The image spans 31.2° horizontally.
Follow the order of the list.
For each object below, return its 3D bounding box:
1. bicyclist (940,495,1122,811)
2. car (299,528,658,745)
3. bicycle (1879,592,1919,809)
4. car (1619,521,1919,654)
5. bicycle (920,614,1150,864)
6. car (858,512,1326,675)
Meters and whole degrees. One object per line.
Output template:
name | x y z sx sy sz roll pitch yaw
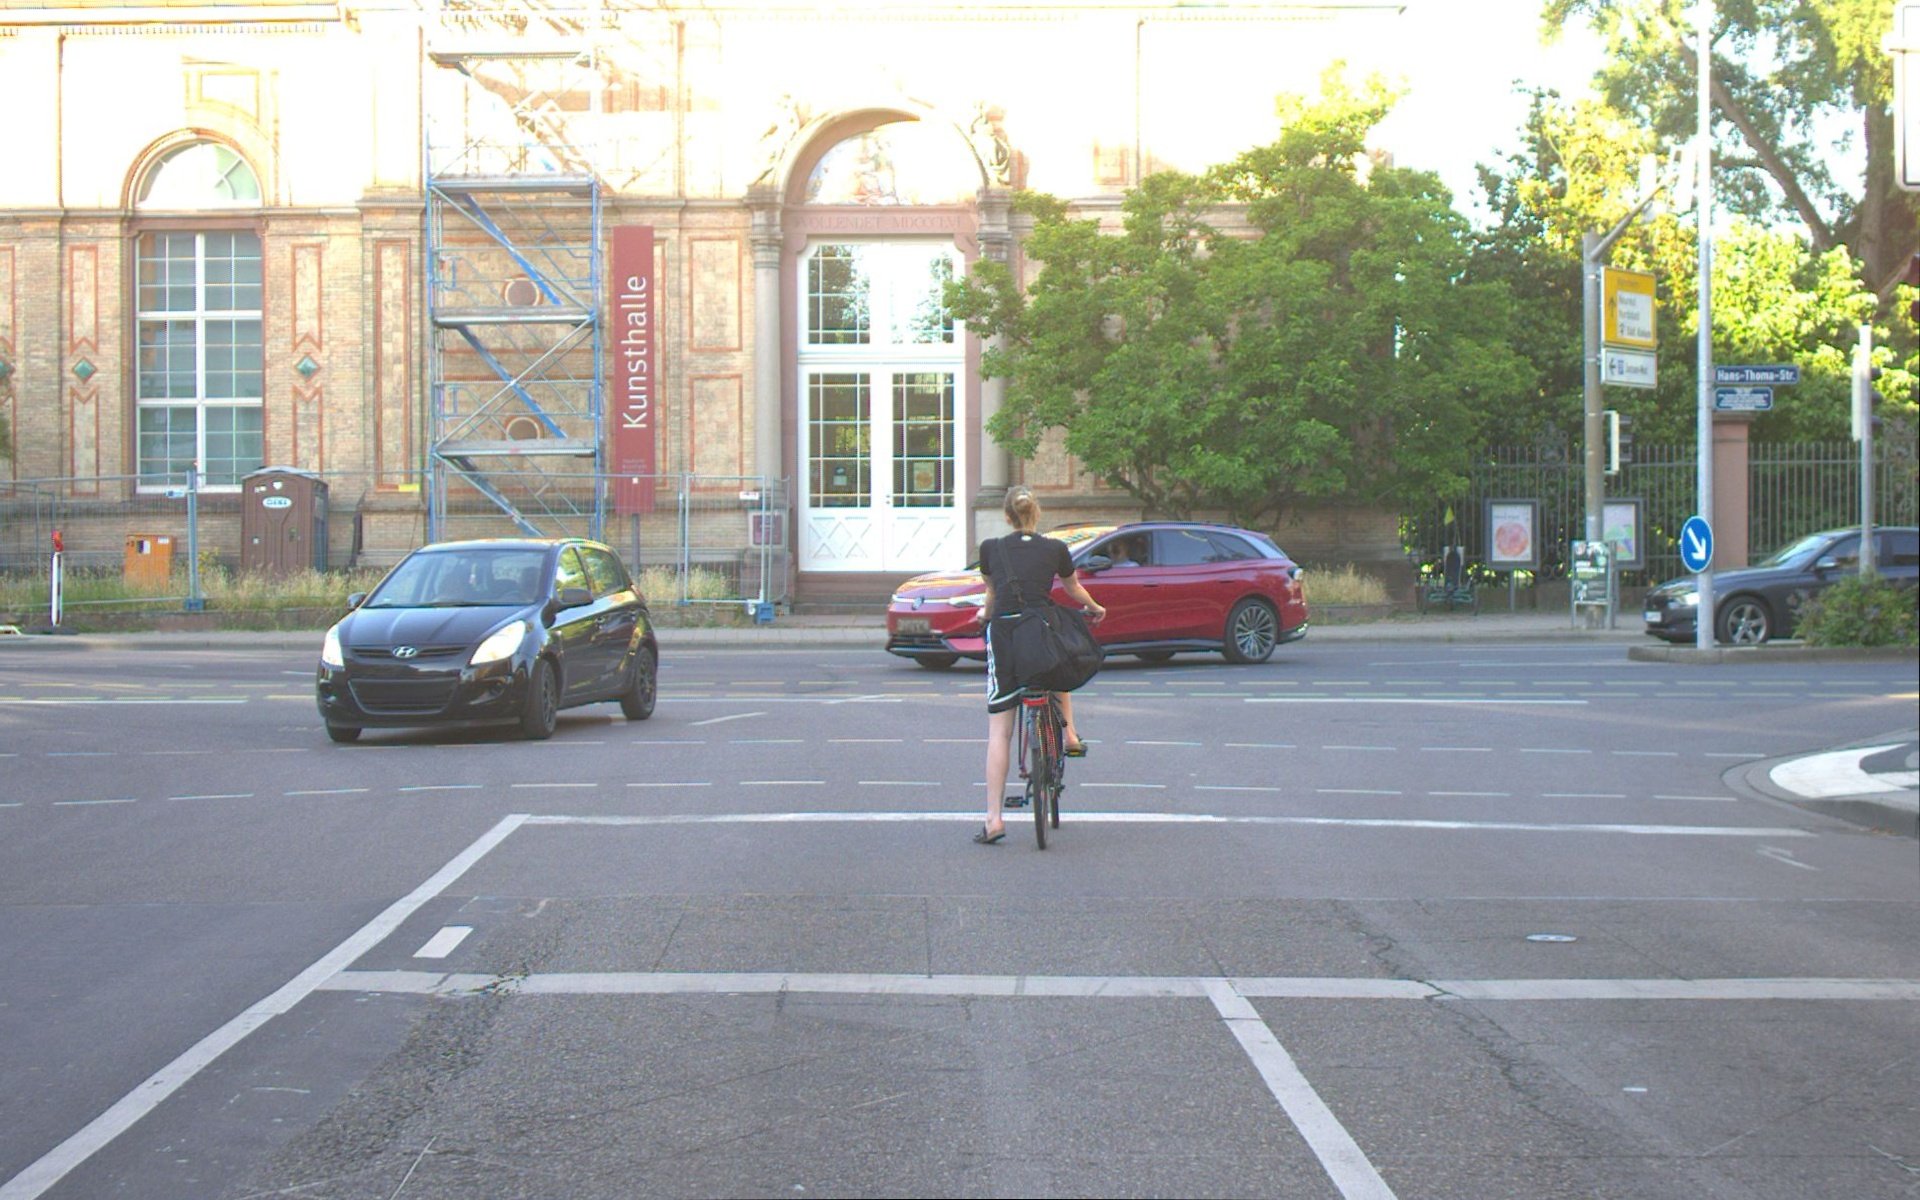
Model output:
bicyclist | 0.354 0.256 16.771 0.716 1.497 0.850 0 -1 13
car | -3.621 0.225 26.506 1.658 1.466 3.853 -1 2 9
bicycle | 5.519 0.545 18.523 0.582 1.184 1.920 0 0 -1
car | 10.119 -0.169 40.115 4.407 1.454 1.788 -1 1 -11
bicycle | 0.400 0.650 16.941 0.712 1.152 2.067 0 0 13
car | 1.454 -0.114 36.560 4.832 1.540 1.836 -2 2 -35
